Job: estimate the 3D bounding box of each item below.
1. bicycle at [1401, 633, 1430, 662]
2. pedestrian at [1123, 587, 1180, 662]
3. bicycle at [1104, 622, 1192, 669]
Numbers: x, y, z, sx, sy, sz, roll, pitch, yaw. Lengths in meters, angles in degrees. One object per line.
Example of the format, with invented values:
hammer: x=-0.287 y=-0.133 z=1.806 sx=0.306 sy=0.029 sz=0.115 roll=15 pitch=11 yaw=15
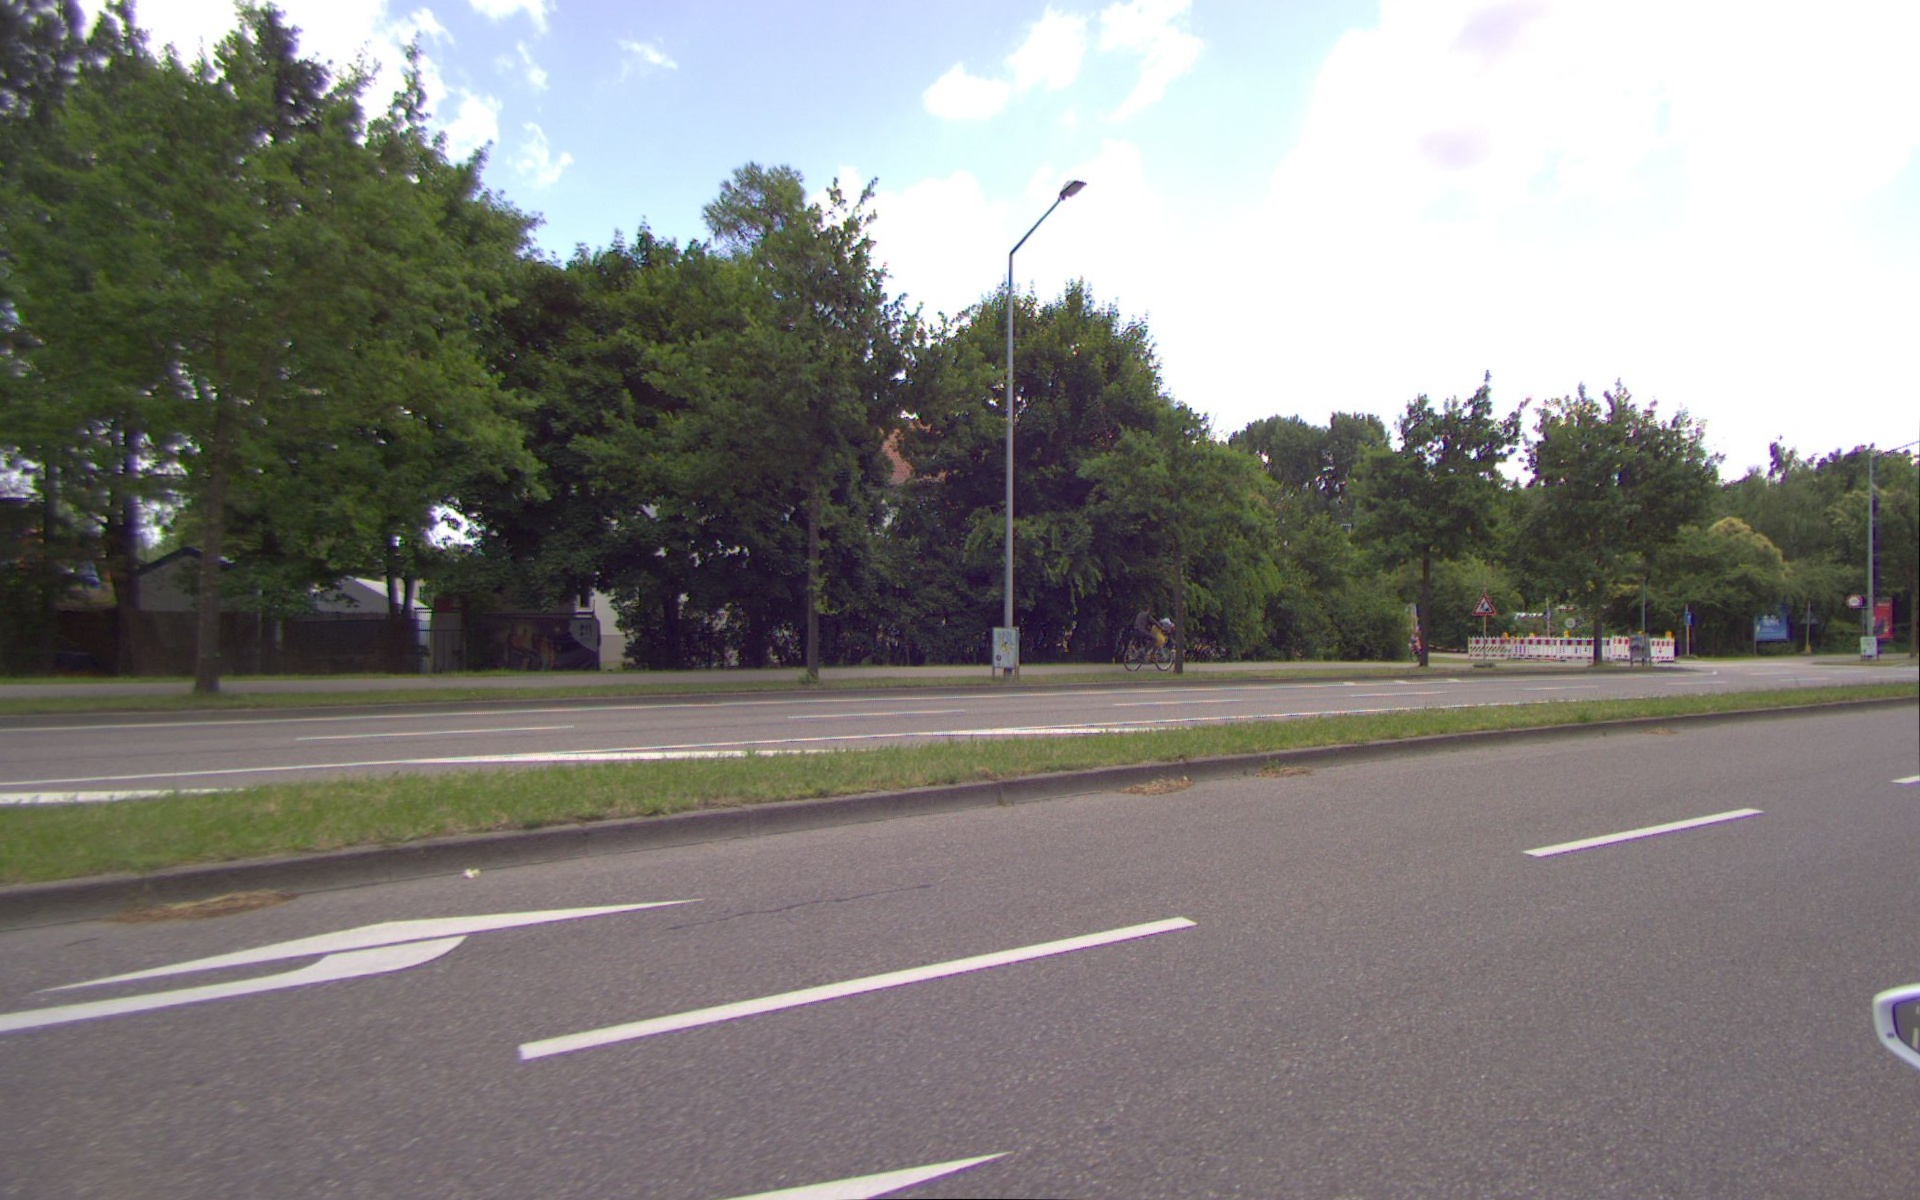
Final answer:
bicycle: x=18.061 y=1.871 z=39.837 sx=0.866 sy=1.073 sz=2.364 roll=0 pitch=-1 yaw=20
pedestrian: x=5.307 y=0.670 z=27.866 sx=1.234 sy=2.040 sz=0.966 roll=0 pitch=-1 yaw=-29
bicycle: x=5.187 y=1.233 z=27.627 sx=2.472 sy=1.243 sz=0.804 roll=1 pitch=-1 yaw=-30
